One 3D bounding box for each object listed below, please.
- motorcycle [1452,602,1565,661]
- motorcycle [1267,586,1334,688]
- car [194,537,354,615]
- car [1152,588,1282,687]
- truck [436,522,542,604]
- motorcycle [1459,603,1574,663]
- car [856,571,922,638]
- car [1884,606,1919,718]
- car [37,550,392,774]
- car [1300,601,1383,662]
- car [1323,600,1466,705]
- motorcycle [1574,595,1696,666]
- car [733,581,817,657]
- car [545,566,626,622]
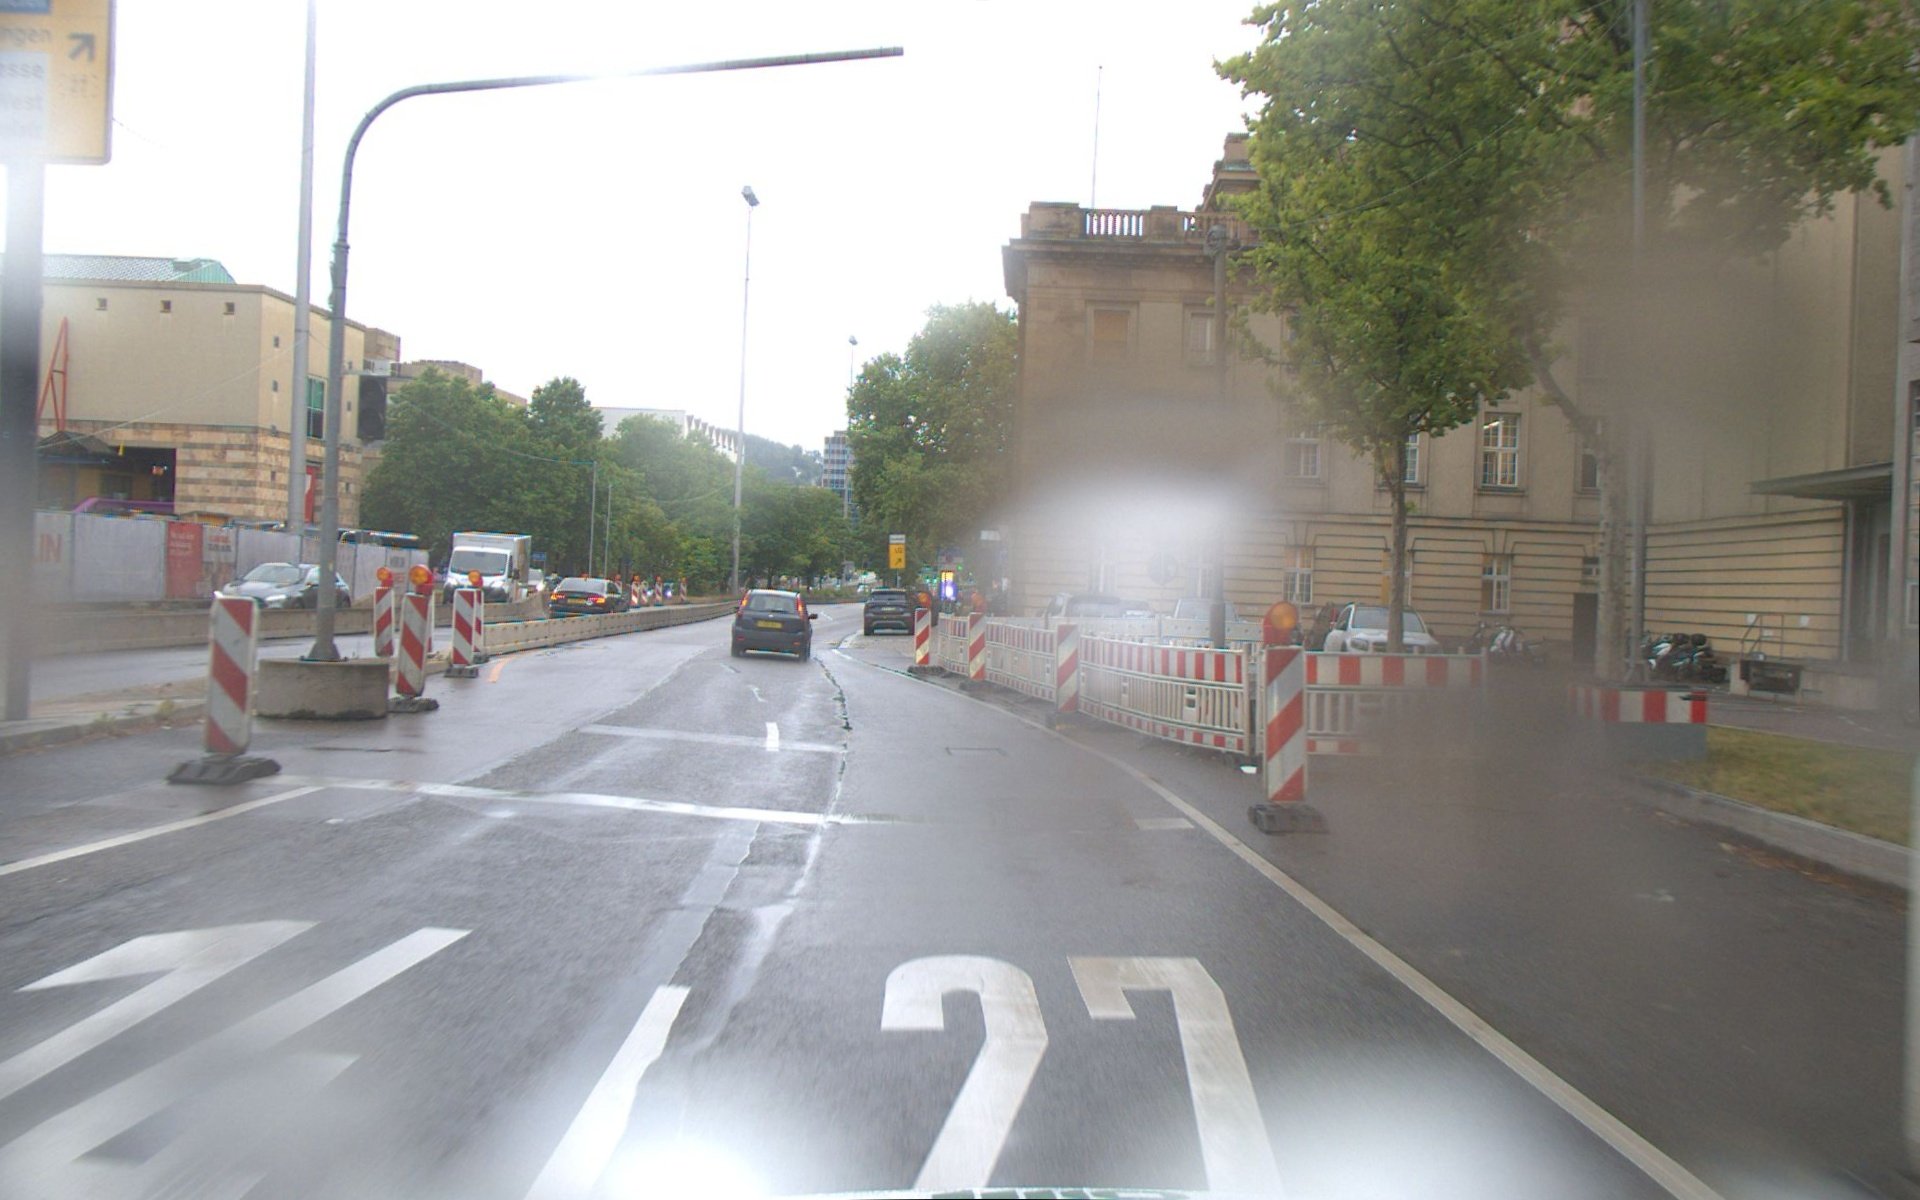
[{"bbox_3d":[16.895,0.980,51.021,3.095,1.570,0.890,4,-2,5],"label":"motorcycle"},{"bbox_3d":[6.612,0.690,32.277,0.813,1.862,3.145,2,0,4],"label":"motorcycle"},{"bbox_3d":[-15.629,-0.500,37.924,1.953,1.505,3.999,4,-1,-1],"label":"car"},{"bbox_3d":[5.146,0.701,33.620,1.953,1.738,4.000,3,1,0],"label":"car"},{"bbox_3d":[-15.717,-1.162,55.546,2.367,2.379,5.436,4,-1,-6],"label":"truck"},{"bbox_3d":[16.815,0.991,49.995,3.096,1.570,0.890,4,-2,3],"label":"motorcycle"},{"bbox_3d":[-2.374,0.111,56.233,1.953,2.048,4.000,3,1,0],"label":"car"},{"bbox_3d":[16.395,1.002,25.091,1.952,1.790,5.096,2,-1,1],"label":"car"},{"bbox_3d":[-5.317,0.406,12.176,1.358,1.410,3.064,2,0,-4],"label":"car"},{"bbox_3d":[12.131,1.003,52.794,1.952,1.738,4.002,4,-1,5],"label":"car"},{"bbox_3d":[8.349,0.956,32.126,1.952,1.738,4.003,4,1,5],"label":"car"},{"bbox_3d":[21.041,0.959,51.580,3.280,2.049,1.152,2,-2,2],"label":"motorcycle"},{"bbox_3d":[-3.987,0.407,35.948,1.638,1.452,3.753,4,-1,-5],"label":"car"},{"bbox_3d":[-11.038,-0.208,48.931,1.806,1.434,3.995,4,1,-7],"label":"car"}]
